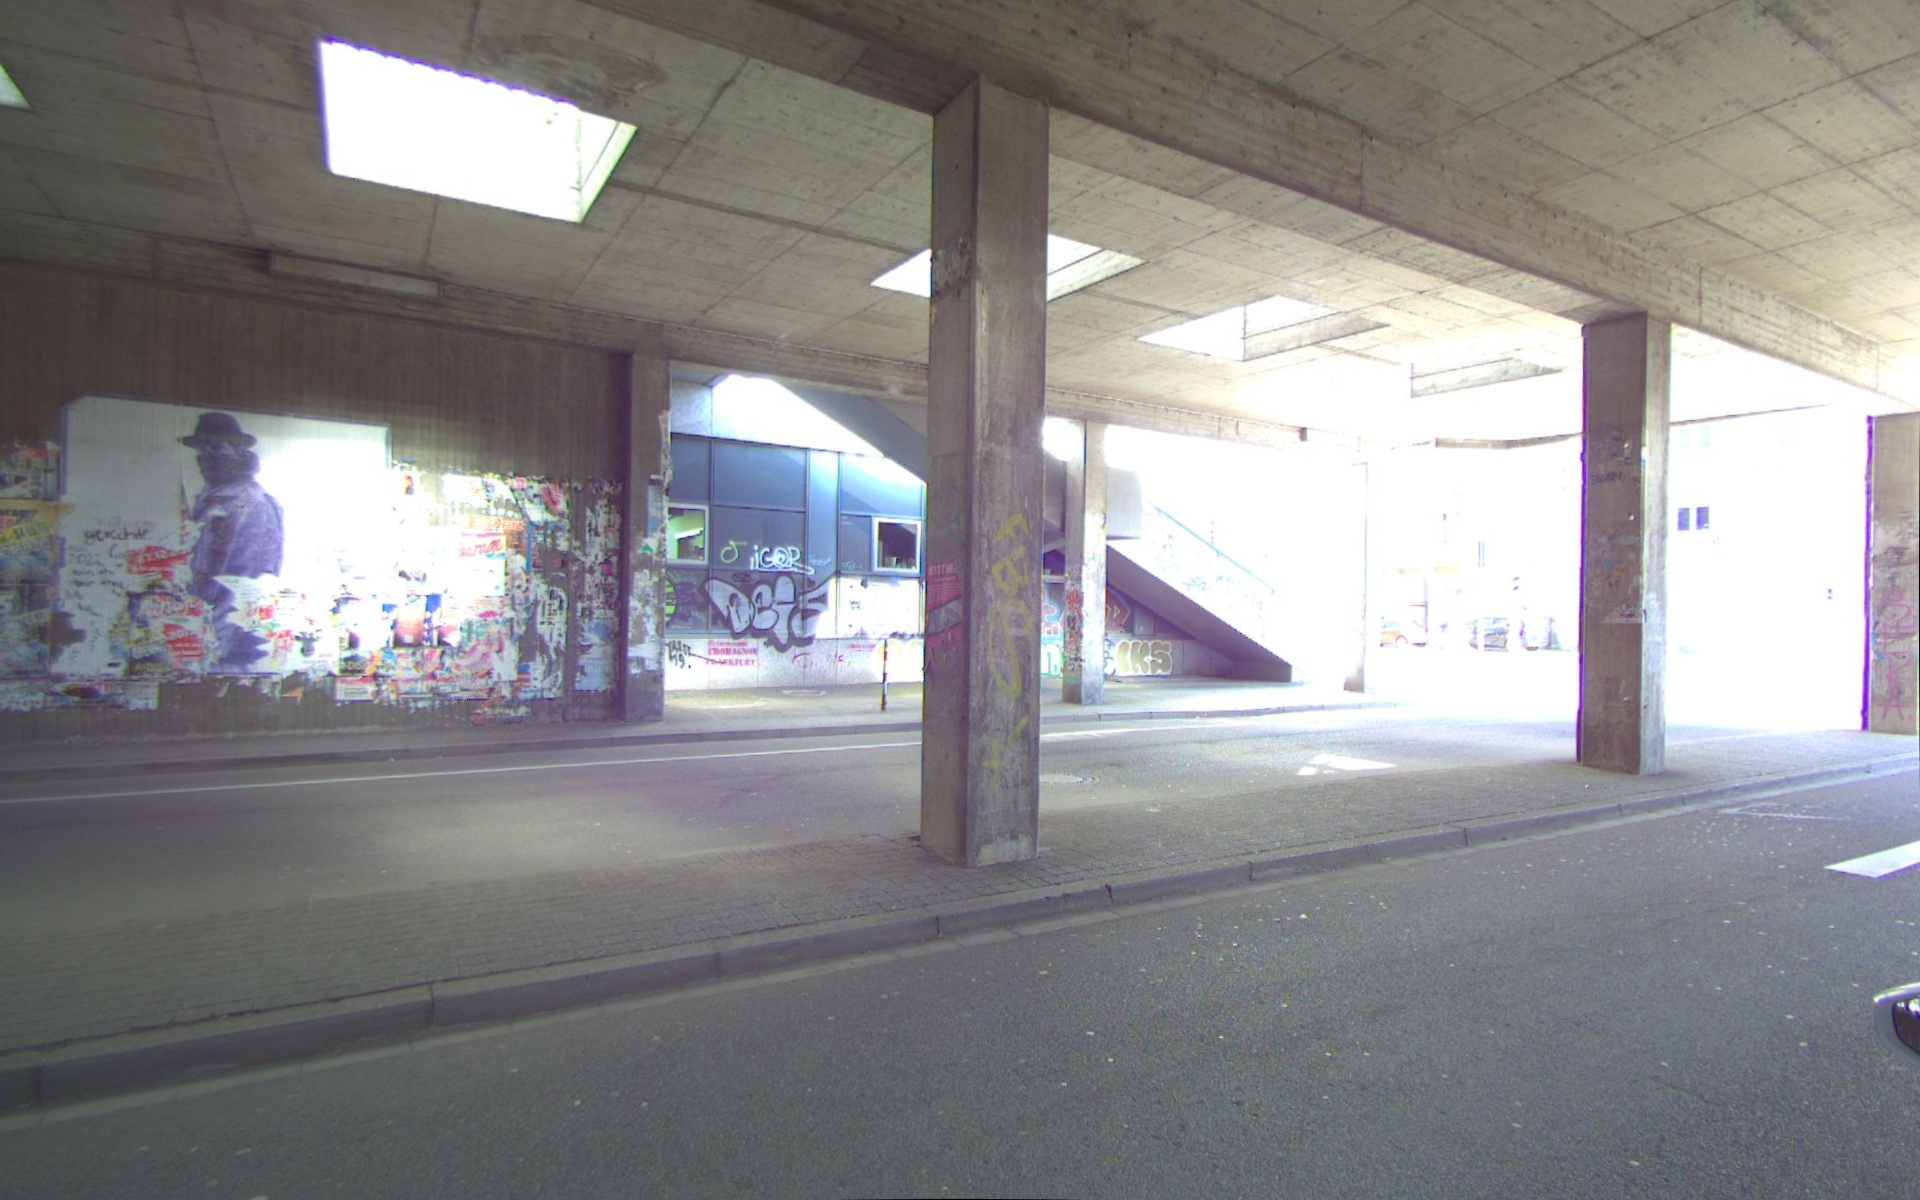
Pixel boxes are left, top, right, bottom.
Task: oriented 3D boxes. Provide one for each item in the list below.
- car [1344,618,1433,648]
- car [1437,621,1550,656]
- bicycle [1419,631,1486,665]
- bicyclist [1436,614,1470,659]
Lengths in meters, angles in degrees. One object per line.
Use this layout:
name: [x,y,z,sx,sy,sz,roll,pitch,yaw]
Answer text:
car: [22.444,1.713,52.728,1.905,1.428,3.965,2,0,-32]
car: [25.316,1.814,47.817,1.905,1.428,4.382,2,0,-32]
bicycle: [15.955,1.544,32.590,0.708,1.063,1.986,2,-2,-22]
bicyclist: [15.972,1.179,32.554,0.675,1.442,0.736,2,-2,-23]
